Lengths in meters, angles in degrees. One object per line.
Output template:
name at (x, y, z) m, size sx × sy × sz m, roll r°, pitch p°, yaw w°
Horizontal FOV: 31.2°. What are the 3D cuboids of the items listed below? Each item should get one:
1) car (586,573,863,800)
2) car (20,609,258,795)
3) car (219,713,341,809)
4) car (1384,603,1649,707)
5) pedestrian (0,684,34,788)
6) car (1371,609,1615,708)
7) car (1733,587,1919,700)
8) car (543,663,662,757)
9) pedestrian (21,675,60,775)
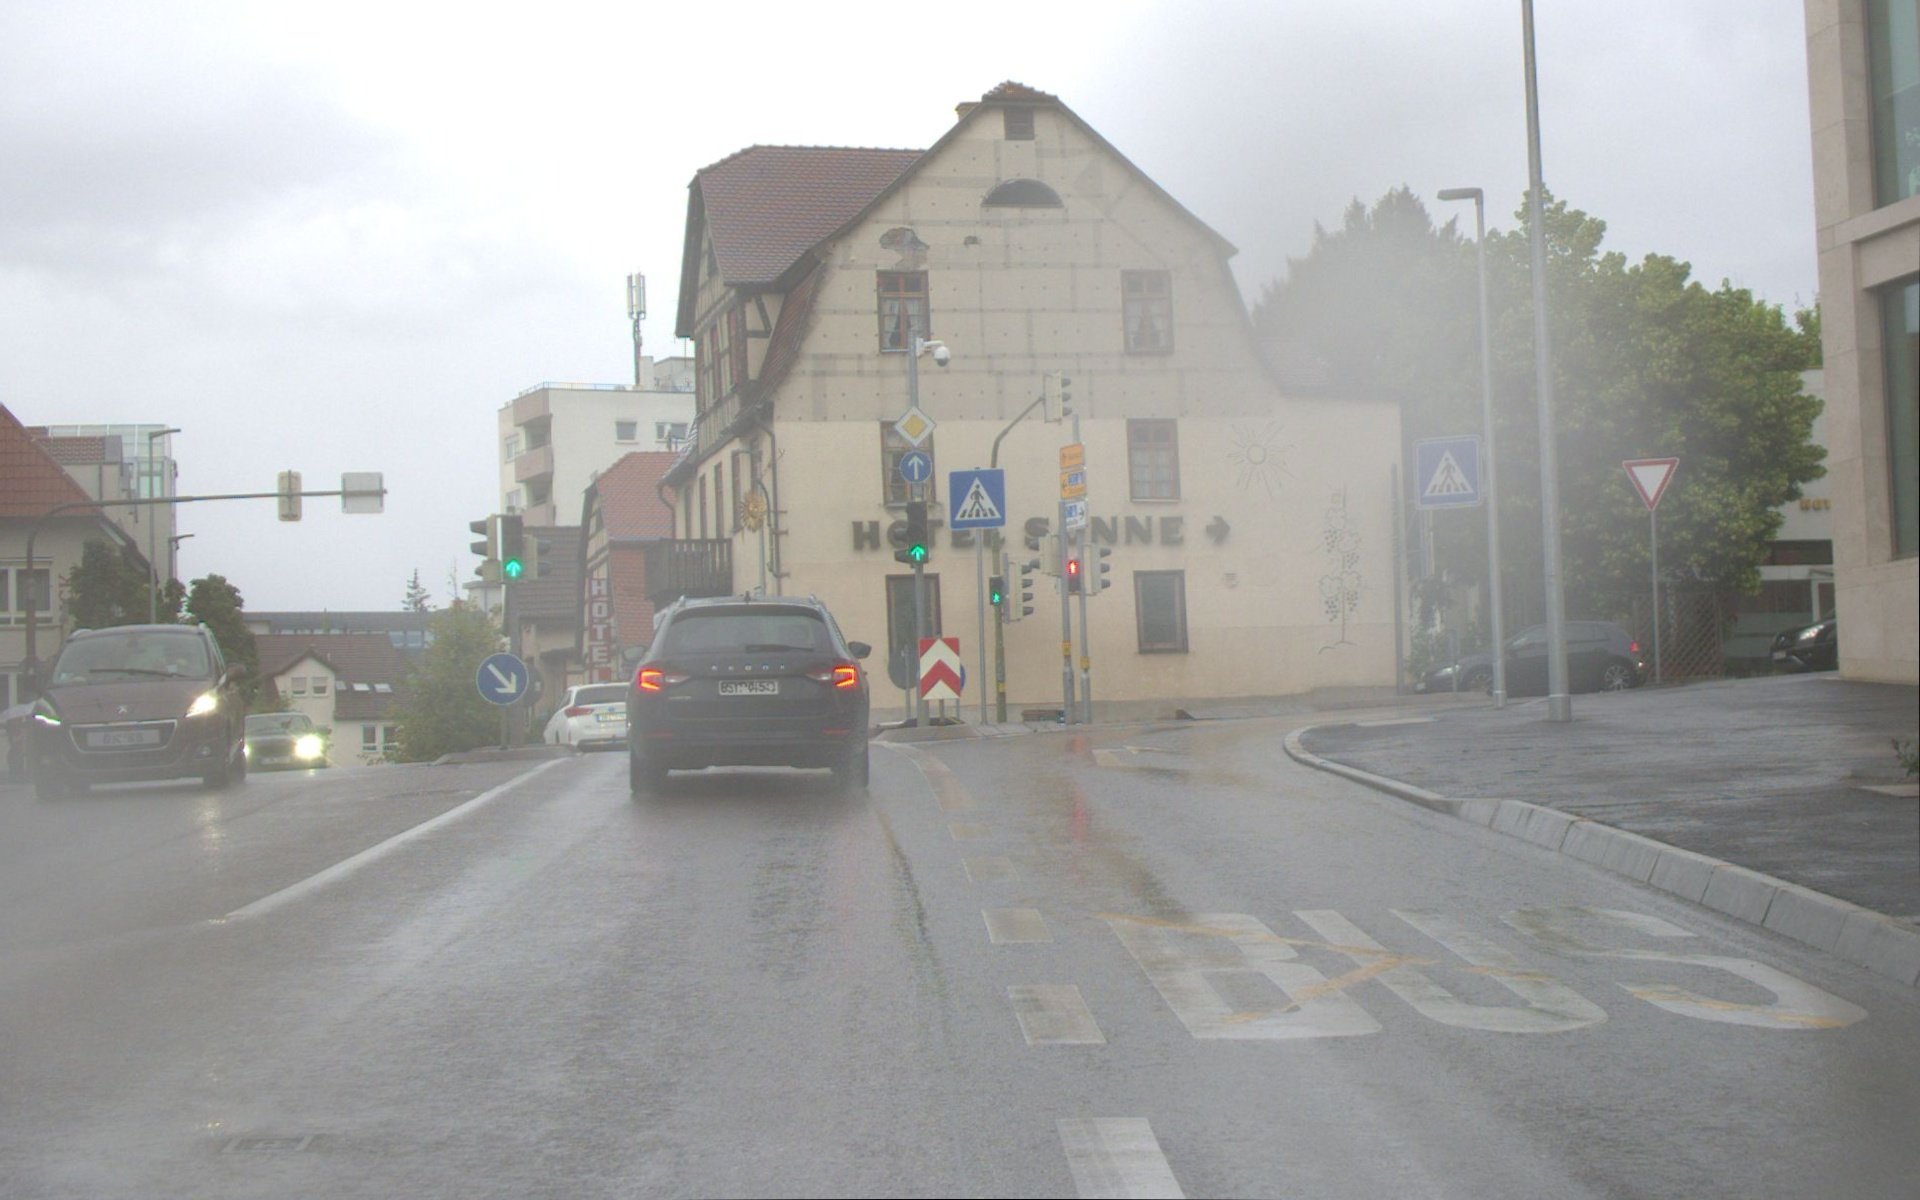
car at (-1.784, 0.601, 26.823) m, size 1.944 × 1.561 × 4.418 m, roll -1°, pitch 1°, yaw -3°
car at (-7.891, 0.931, 33.371) m, size 1.781 × 1.624 × 4.217 m, roll -2°, pitch 0°, yaw -8°
car at (-12.302, 2.891, 62.377) m, size 1.886 × 1.462 × 4.001 m, roll -3°, pitch 0°, yaw -8°
car at (10.124, 1.000, 62.590) m, size 4.301 × 1.500 × 1.778 m, roll -3°, pitch -5°, yaw -16°
pedestrian at (-17.328, 2.490, 63.053) m, size 0.534 × 1.865 × 0.634 m, roll -3°, pitch -2°, yaw -17°
car at (10.281, 1.132, 66.443) m, size 4.171 × 1.514 × 1.778 m, roll -3°, pitch -5°, yaw -14°
car at (17.064, 0.791, 64.930) m, size 4.301 × 1.810 × 1.778 m, roll -3°, pitch -5°, yaw -14°
car at (-6.322, 1.908, 60.563) m, size 1.886 × 1.462 × 4.001 m, roll -3°, pitch 0°, yaw -8°
pedestrian at (-17.518, 2.385, 65.482) m, size 0.603 × 1.861 × 0.748 m, roll -3°, pitch -2°, yaw -17°
